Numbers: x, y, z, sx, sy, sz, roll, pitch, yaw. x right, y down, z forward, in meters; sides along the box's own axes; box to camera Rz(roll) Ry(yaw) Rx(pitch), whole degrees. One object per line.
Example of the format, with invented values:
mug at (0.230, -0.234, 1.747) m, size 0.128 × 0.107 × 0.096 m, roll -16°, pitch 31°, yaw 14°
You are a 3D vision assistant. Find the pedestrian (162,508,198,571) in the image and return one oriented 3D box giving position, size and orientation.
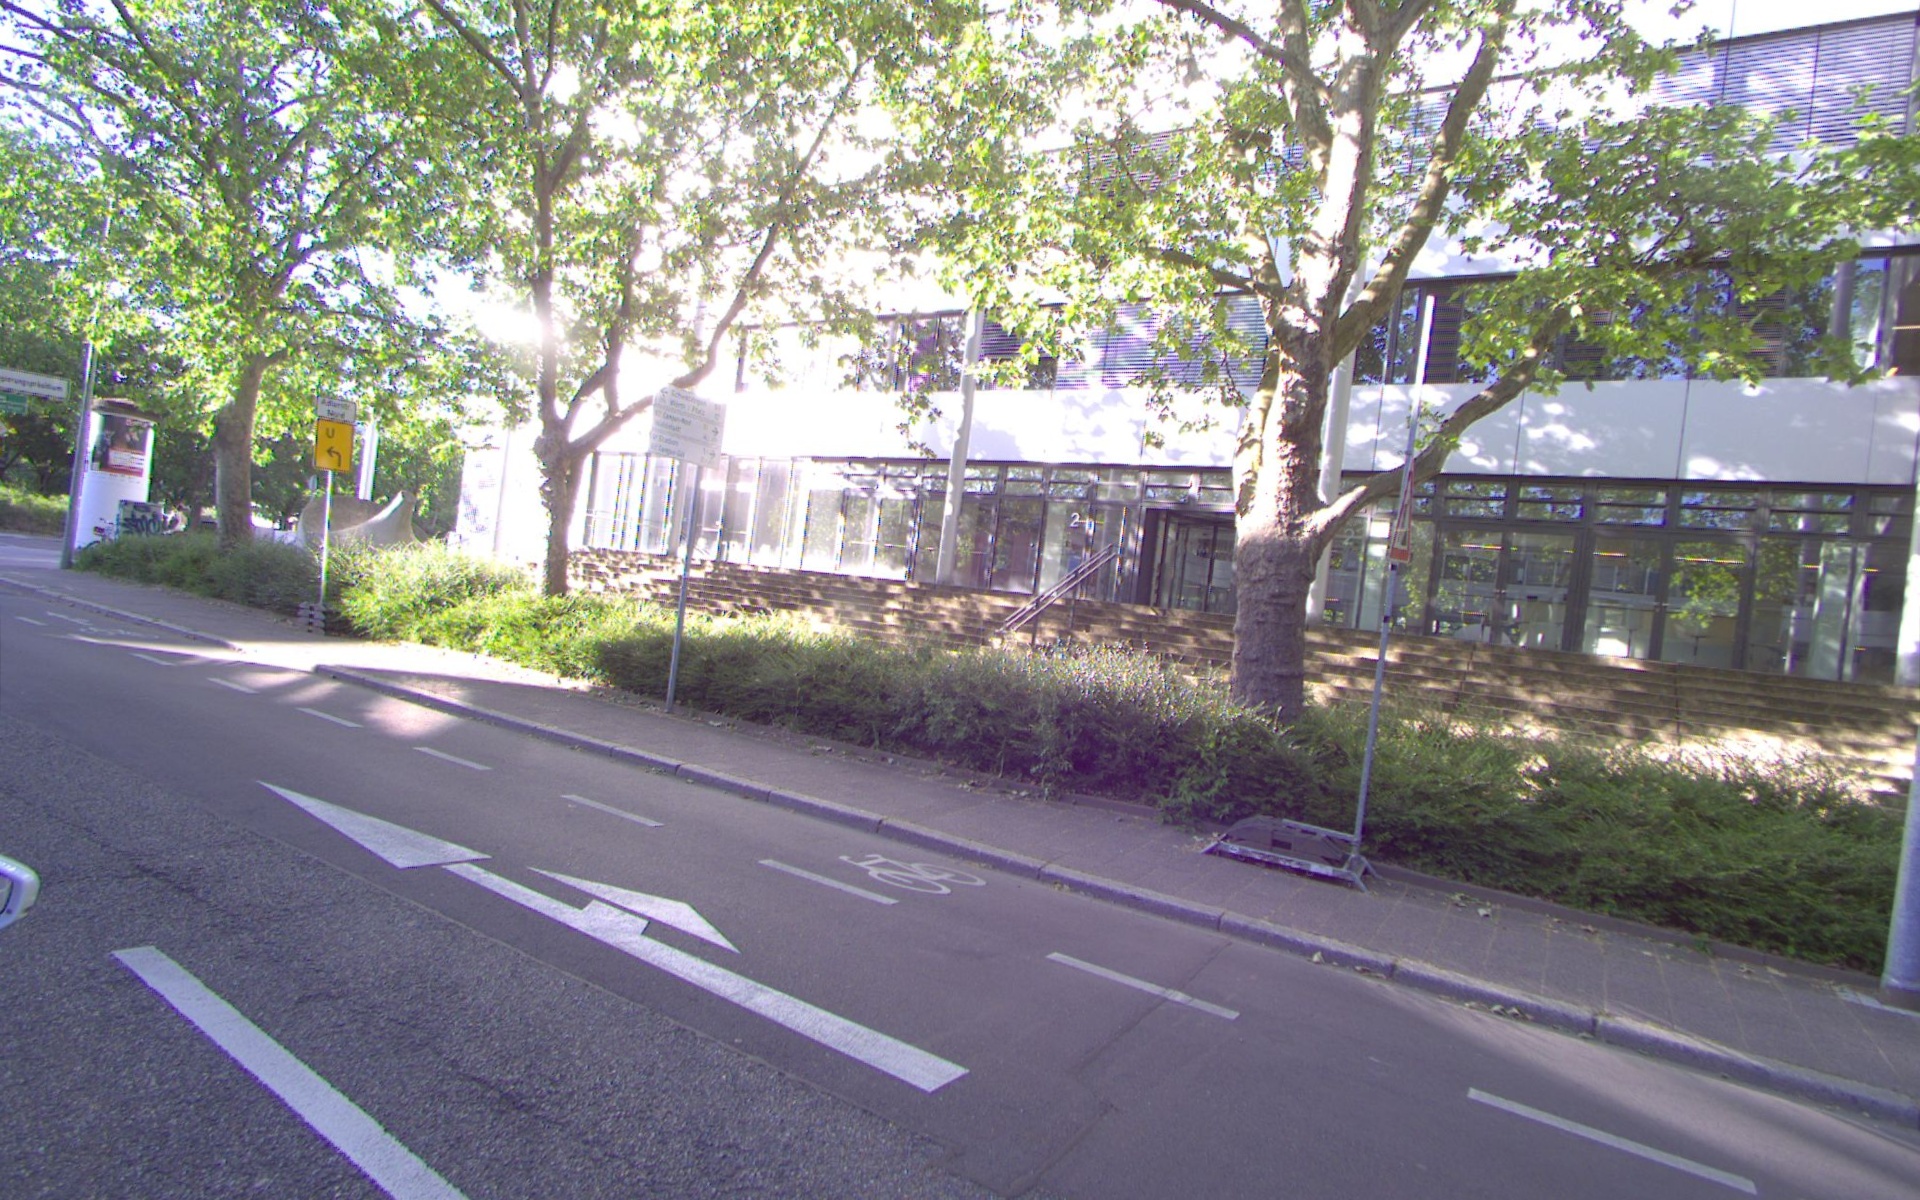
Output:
pedestrian at (-24.507, -1.898, 31.618) m, size 0.584 × 1.871 × 0.552 m, roll 7°, pitch 0°, yaw 33°

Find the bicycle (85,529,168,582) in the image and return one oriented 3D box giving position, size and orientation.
bicycle at (-19.222, -1.013, 23.233) m, size 0.357 × 1.036 × 1.354 m, roll 7°, pitch -1°, yaw 33°
